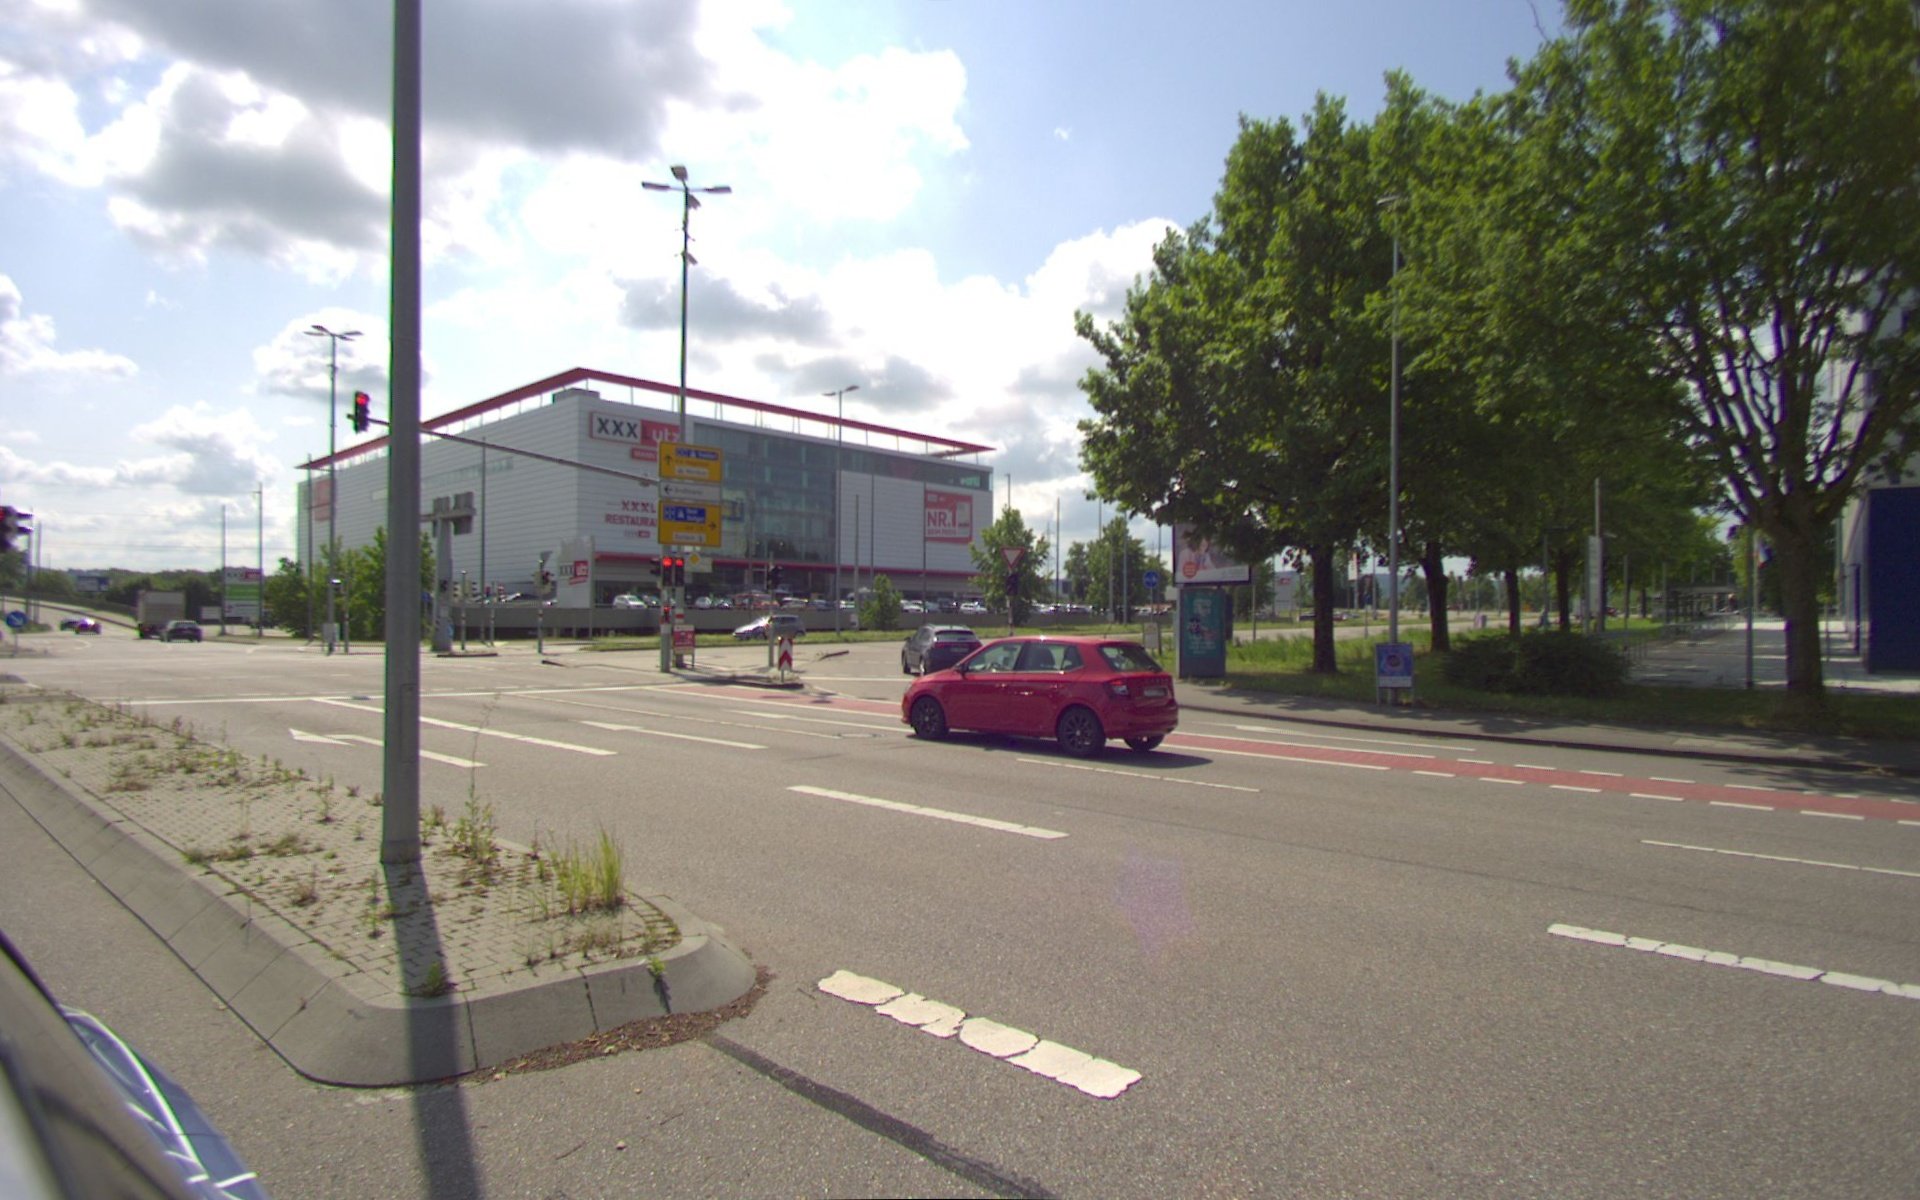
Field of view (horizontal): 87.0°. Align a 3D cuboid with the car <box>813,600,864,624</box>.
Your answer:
[{"bbox_3d":[-12.541,1.253,104.129,5.797,2.300,1.725,-3,-2,42],"label":"car"}]

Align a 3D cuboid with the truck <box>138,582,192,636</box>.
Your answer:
[{"bbox_3d":[-64.342,0.818,81.793,3.172,4.058,9.085,-1,-2,-40],"label":"truck"}]

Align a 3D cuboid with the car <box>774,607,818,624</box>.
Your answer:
[{"bbox_3d":[-15.931,1.500,98.089,4.425,1.617,1.926,-2,-2,44],"label":"car"}]

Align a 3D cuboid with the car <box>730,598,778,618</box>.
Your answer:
[{"bbox_3d":[-19.109,0.759,93.937,4.174,1.763,1.896,-3,-1,32],"label":"car"}]

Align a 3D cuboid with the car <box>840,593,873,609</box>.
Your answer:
[{"bbox_3d":[-12.642,0.137,123.381,4.001,1.763,1.889,-3,-2,44],"label":"car"}]

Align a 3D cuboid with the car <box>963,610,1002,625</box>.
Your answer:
[{"bbox_3d":[2.578,2.019,117.201,4.425,1.617,1.926,-2,-2,44],"label":"car"}]

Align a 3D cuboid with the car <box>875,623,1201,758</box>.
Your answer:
[{"bbox_3d":[0.926,1.086,13.404,4.123,1.494,1.668,-1,-3,41],"label":"car"}]

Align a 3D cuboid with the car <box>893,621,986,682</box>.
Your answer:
[{"bbox_3d":[-0.680,1.385,28.923,1.865,1.567,4.598,0,-1,-12],"label":"car"}]

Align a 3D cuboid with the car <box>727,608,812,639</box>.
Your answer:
[{"bbox_3d":[-9.945,1.220,53.051,1.608,1.541,4.207,-1,-2,44],"label":"car"}]

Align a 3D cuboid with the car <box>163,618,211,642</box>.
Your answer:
[{"bbox_3d":[-52.433,2.031,68.726,1.749,1.489,4.694,0,-1,-26],"label":"car"}]

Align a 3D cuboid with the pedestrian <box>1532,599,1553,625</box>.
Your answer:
[{"bbox_3d":[40.059,0.815,69.581,1.147,1.741,0.855,-1,-2,-43],"label":"pedestrian"}]

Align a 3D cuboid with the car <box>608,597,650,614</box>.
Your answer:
[{"bbox_3d":[-31.606,0.559,96.617,4.422,1.482,1.928,-2,-2,42],"label":"car"}]

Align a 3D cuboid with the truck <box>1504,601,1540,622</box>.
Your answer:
[{"bbox_3d":[76.992,1.561,138.592,2.974,2.773,5.703,-3,-2,42],"label":"truck"}]
